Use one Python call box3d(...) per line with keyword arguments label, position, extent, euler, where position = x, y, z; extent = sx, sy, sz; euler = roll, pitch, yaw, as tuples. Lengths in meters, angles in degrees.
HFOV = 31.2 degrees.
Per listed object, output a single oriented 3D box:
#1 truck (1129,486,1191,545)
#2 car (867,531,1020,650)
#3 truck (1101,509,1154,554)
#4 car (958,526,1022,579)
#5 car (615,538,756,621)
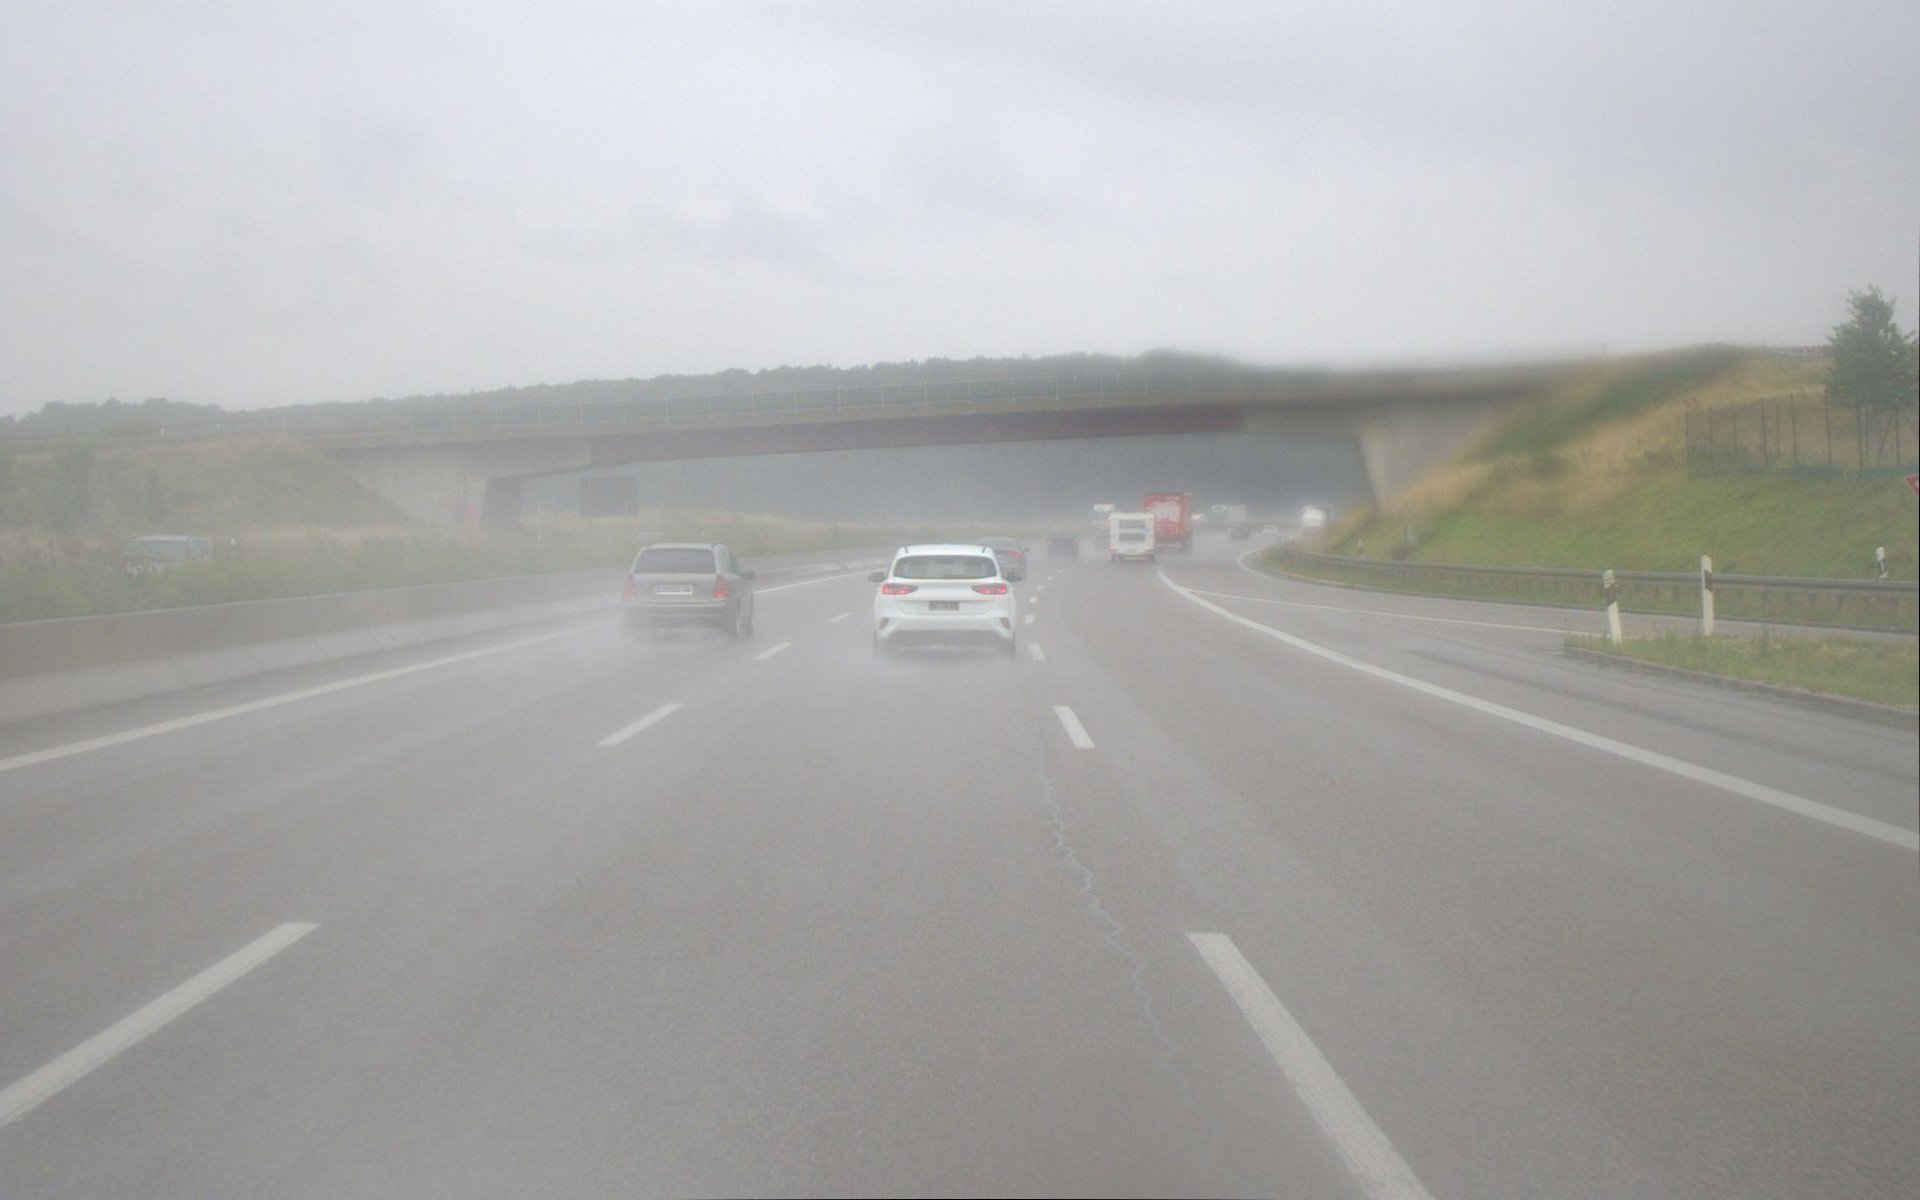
box3d(label="truck", position=(13.215, -5.666, 227.788), extent=(3.527, 3.730, 11.427), euler=(1, 2, 1))
box3d(label="car", position=(-0.221, -0.138, 44.384), extent=(1.867, 1.458, 4.000), euler=(0, 1, -1))
box3d(label="truck", position=(8.536, -3.466, 174.556), extent=(2.408, 2.244, 4.692), euler=(0, 1, 6))
box3d(label="car", position=(0.978, -1.526, 109.428), extent=(1.993, 1.612, 4.000), euler=(0, 1, 1))
box3d(label="car", position=(-4.049, -0.303, 51.256), extent=(1.823, 1.152, 4.213), euler=(1, 0, -1))
